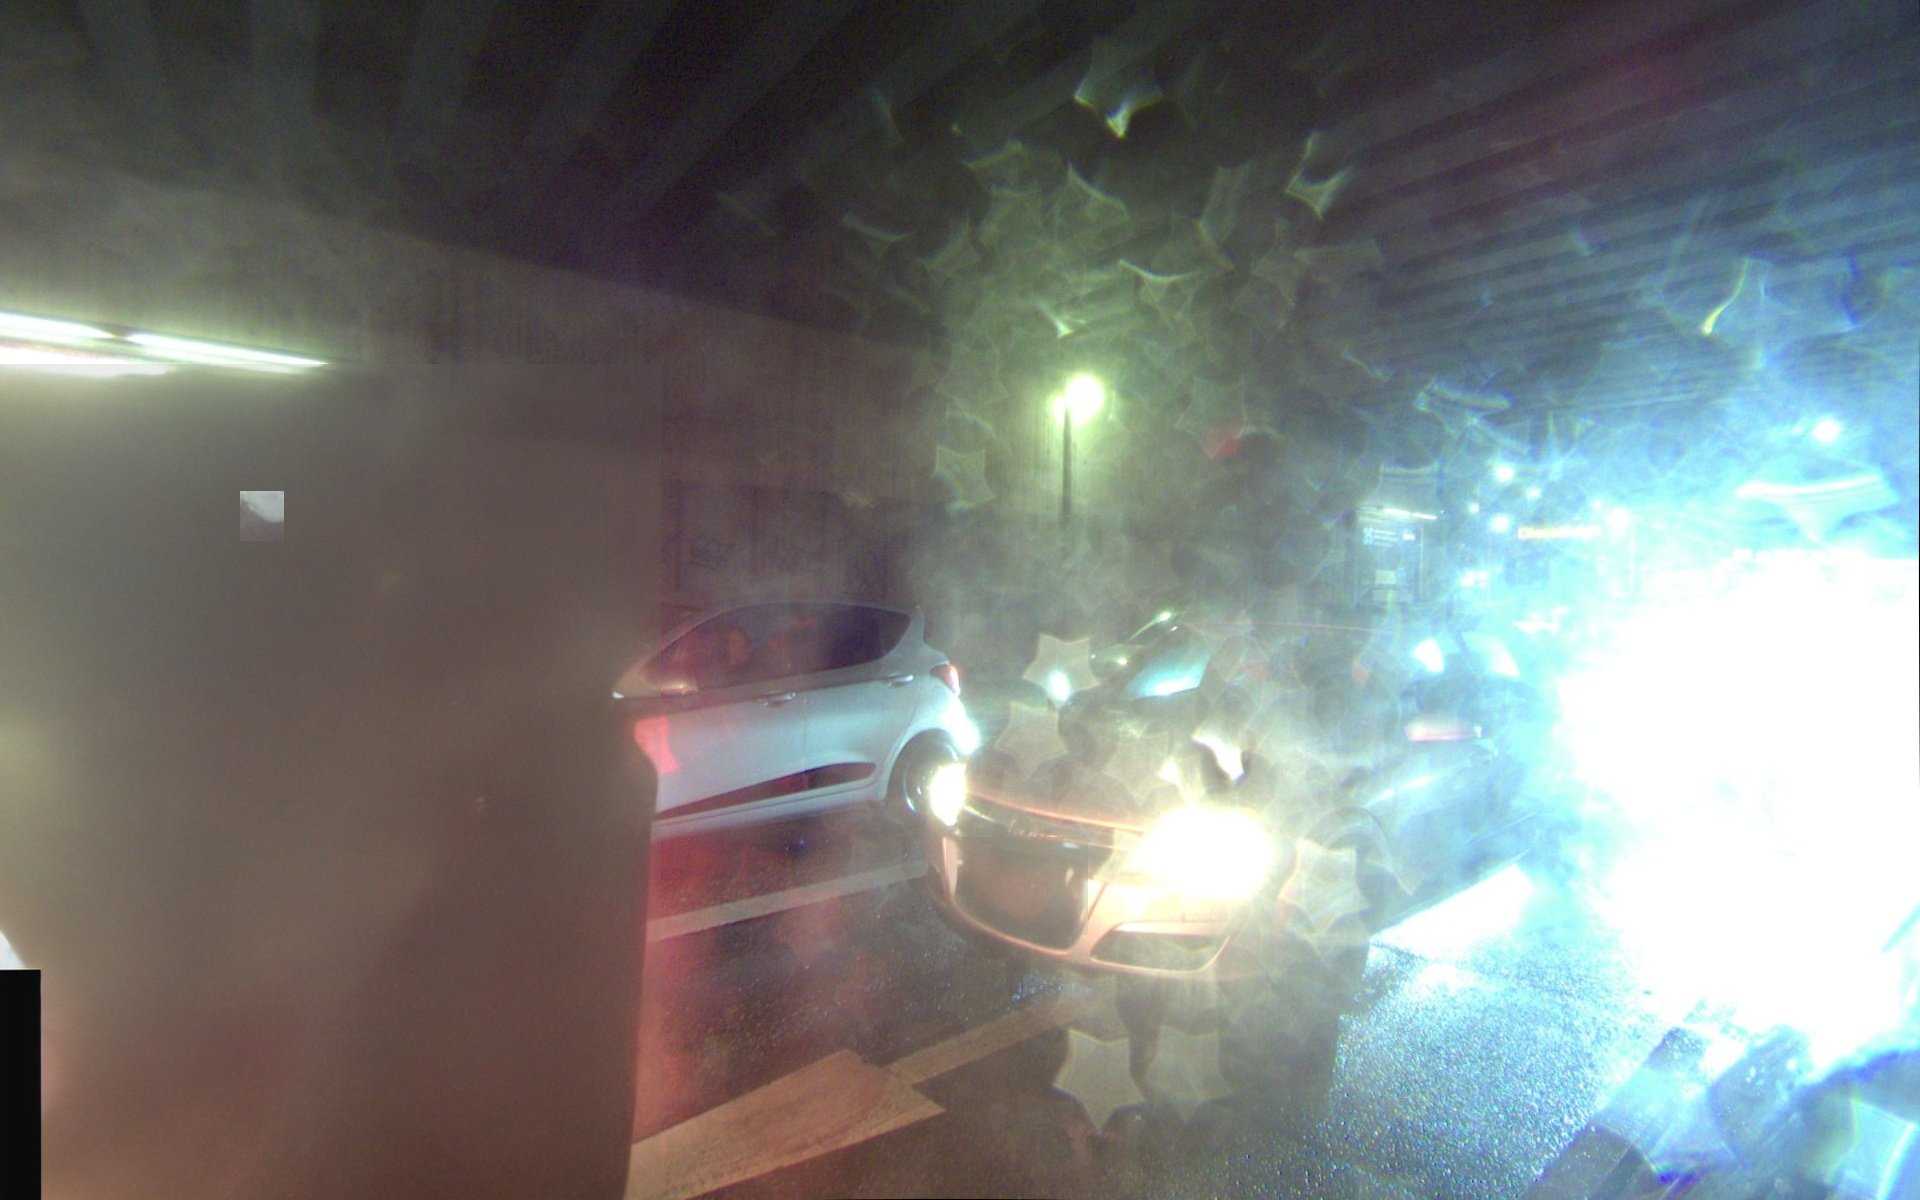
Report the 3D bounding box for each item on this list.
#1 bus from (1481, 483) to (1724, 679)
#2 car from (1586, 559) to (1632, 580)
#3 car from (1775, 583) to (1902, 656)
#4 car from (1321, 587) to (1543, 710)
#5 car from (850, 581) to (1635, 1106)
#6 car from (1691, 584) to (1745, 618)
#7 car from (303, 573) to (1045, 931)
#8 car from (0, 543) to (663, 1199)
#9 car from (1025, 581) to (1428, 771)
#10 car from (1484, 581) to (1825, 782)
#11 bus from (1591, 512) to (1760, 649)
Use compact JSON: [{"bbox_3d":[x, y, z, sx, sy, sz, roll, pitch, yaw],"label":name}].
[{"bbox_3d":[14.025,-0.407,21.601,2.733,3.318,9.551,1,1,43],"label":"bus"},{"bbox_3d":[46.347,-2.160,72.320,1.685,1.407,3.979,0,1,17],"label":"car"},{"bbox_3d":[20.140,0.377,23.141,3.906,1.481,1.696,-1,3,-42],"label":"car"},{"bbox_3d":[7.150,0.599,15.132,1.721,1.505,4.096,3,3,44],"label":"car"},{"bbox_3d":[1.637,0.652,4.861,4.091,1.464,1.723,-1,1,-42],"label":"car"},{"bbox_3d":[44.623,0.038,59.654,1.982,1.905,3.960,0,1,29],"label":"car"},{"bbox_3d":[-1.510,0.603,6.265,4.091,1.464,1.723,-1,3,-42],"label":"car"},{"bbox_3d":[-2.696,0.647,0.986,4.308,1.464,1.723,-1,3,-42],"label":"car"},{"bbox_3d":[2.924,0.577,10.409,4.705,1.505,1.723,-1,2,-42],"label":"car"},{"bbox_3d":[6.726,0.618,9.627,4.091,1.506,1.722,-1,-2,-42],"label":"car"},{"bbox_3d":[20.475,-0.559,28.650,2.733,3.278,9.551,1,1,43],"label":"bus"}]
